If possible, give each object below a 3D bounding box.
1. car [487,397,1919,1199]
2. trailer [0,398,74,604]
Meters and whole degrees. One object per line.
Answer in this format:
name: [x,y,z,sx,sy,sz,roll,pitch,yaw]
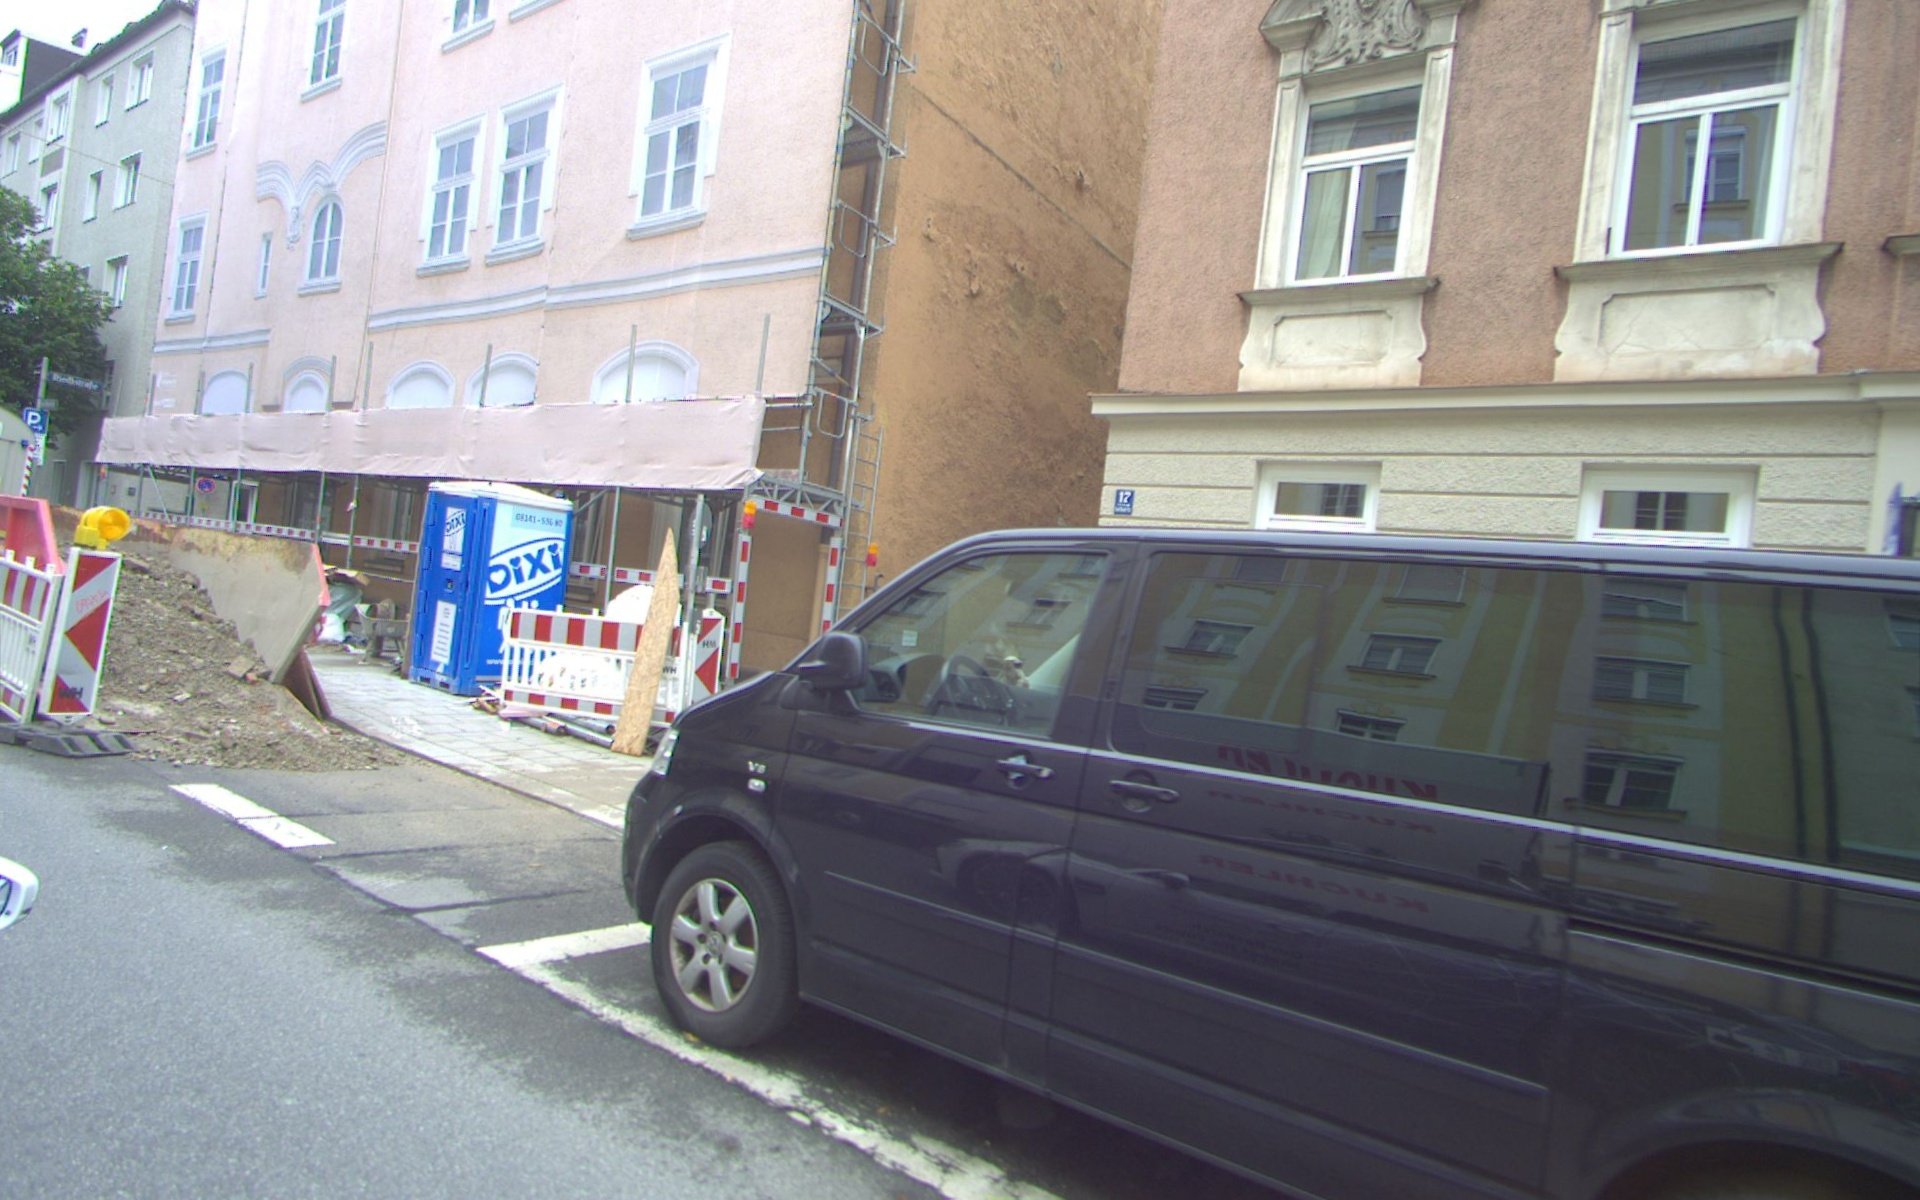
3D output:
car: [0.874,0.665,3.407,5.061,1.942,2.085,4,-4,35]
trailer: [-16.880,-1.792,15.850,6.791,2.872,2.506,6,-2,34]
